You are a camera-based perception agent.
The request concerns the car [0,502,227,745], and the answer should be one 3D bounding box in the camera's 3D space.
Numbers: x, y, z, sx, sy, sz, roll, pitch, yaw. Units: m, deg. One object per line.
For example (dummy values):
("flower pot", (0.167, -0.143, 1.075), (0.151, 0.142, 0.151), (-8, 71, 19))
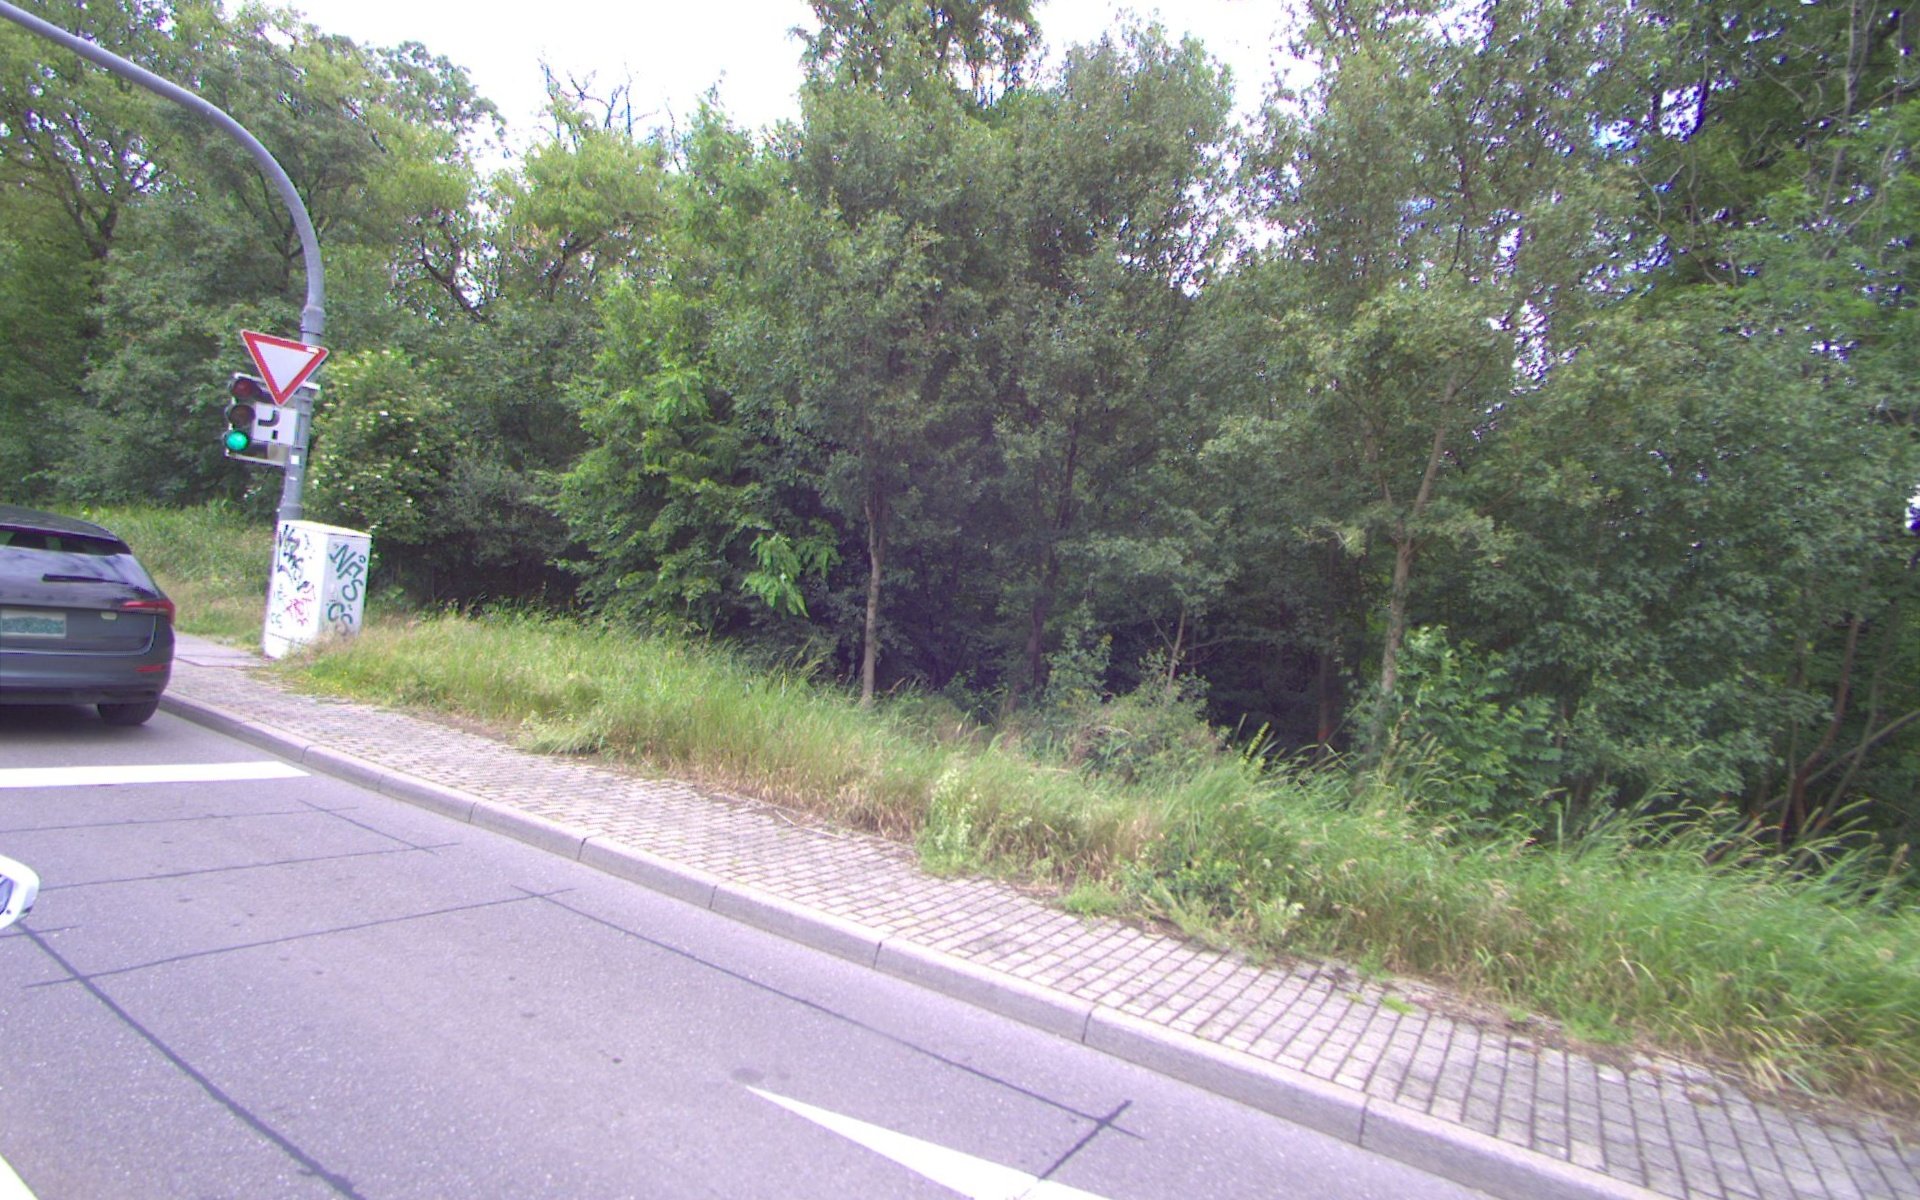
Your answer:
("car", (-7.357, -0.018, 7.306), (3.933, 1.468, 1.796), (7, -1, 31))
